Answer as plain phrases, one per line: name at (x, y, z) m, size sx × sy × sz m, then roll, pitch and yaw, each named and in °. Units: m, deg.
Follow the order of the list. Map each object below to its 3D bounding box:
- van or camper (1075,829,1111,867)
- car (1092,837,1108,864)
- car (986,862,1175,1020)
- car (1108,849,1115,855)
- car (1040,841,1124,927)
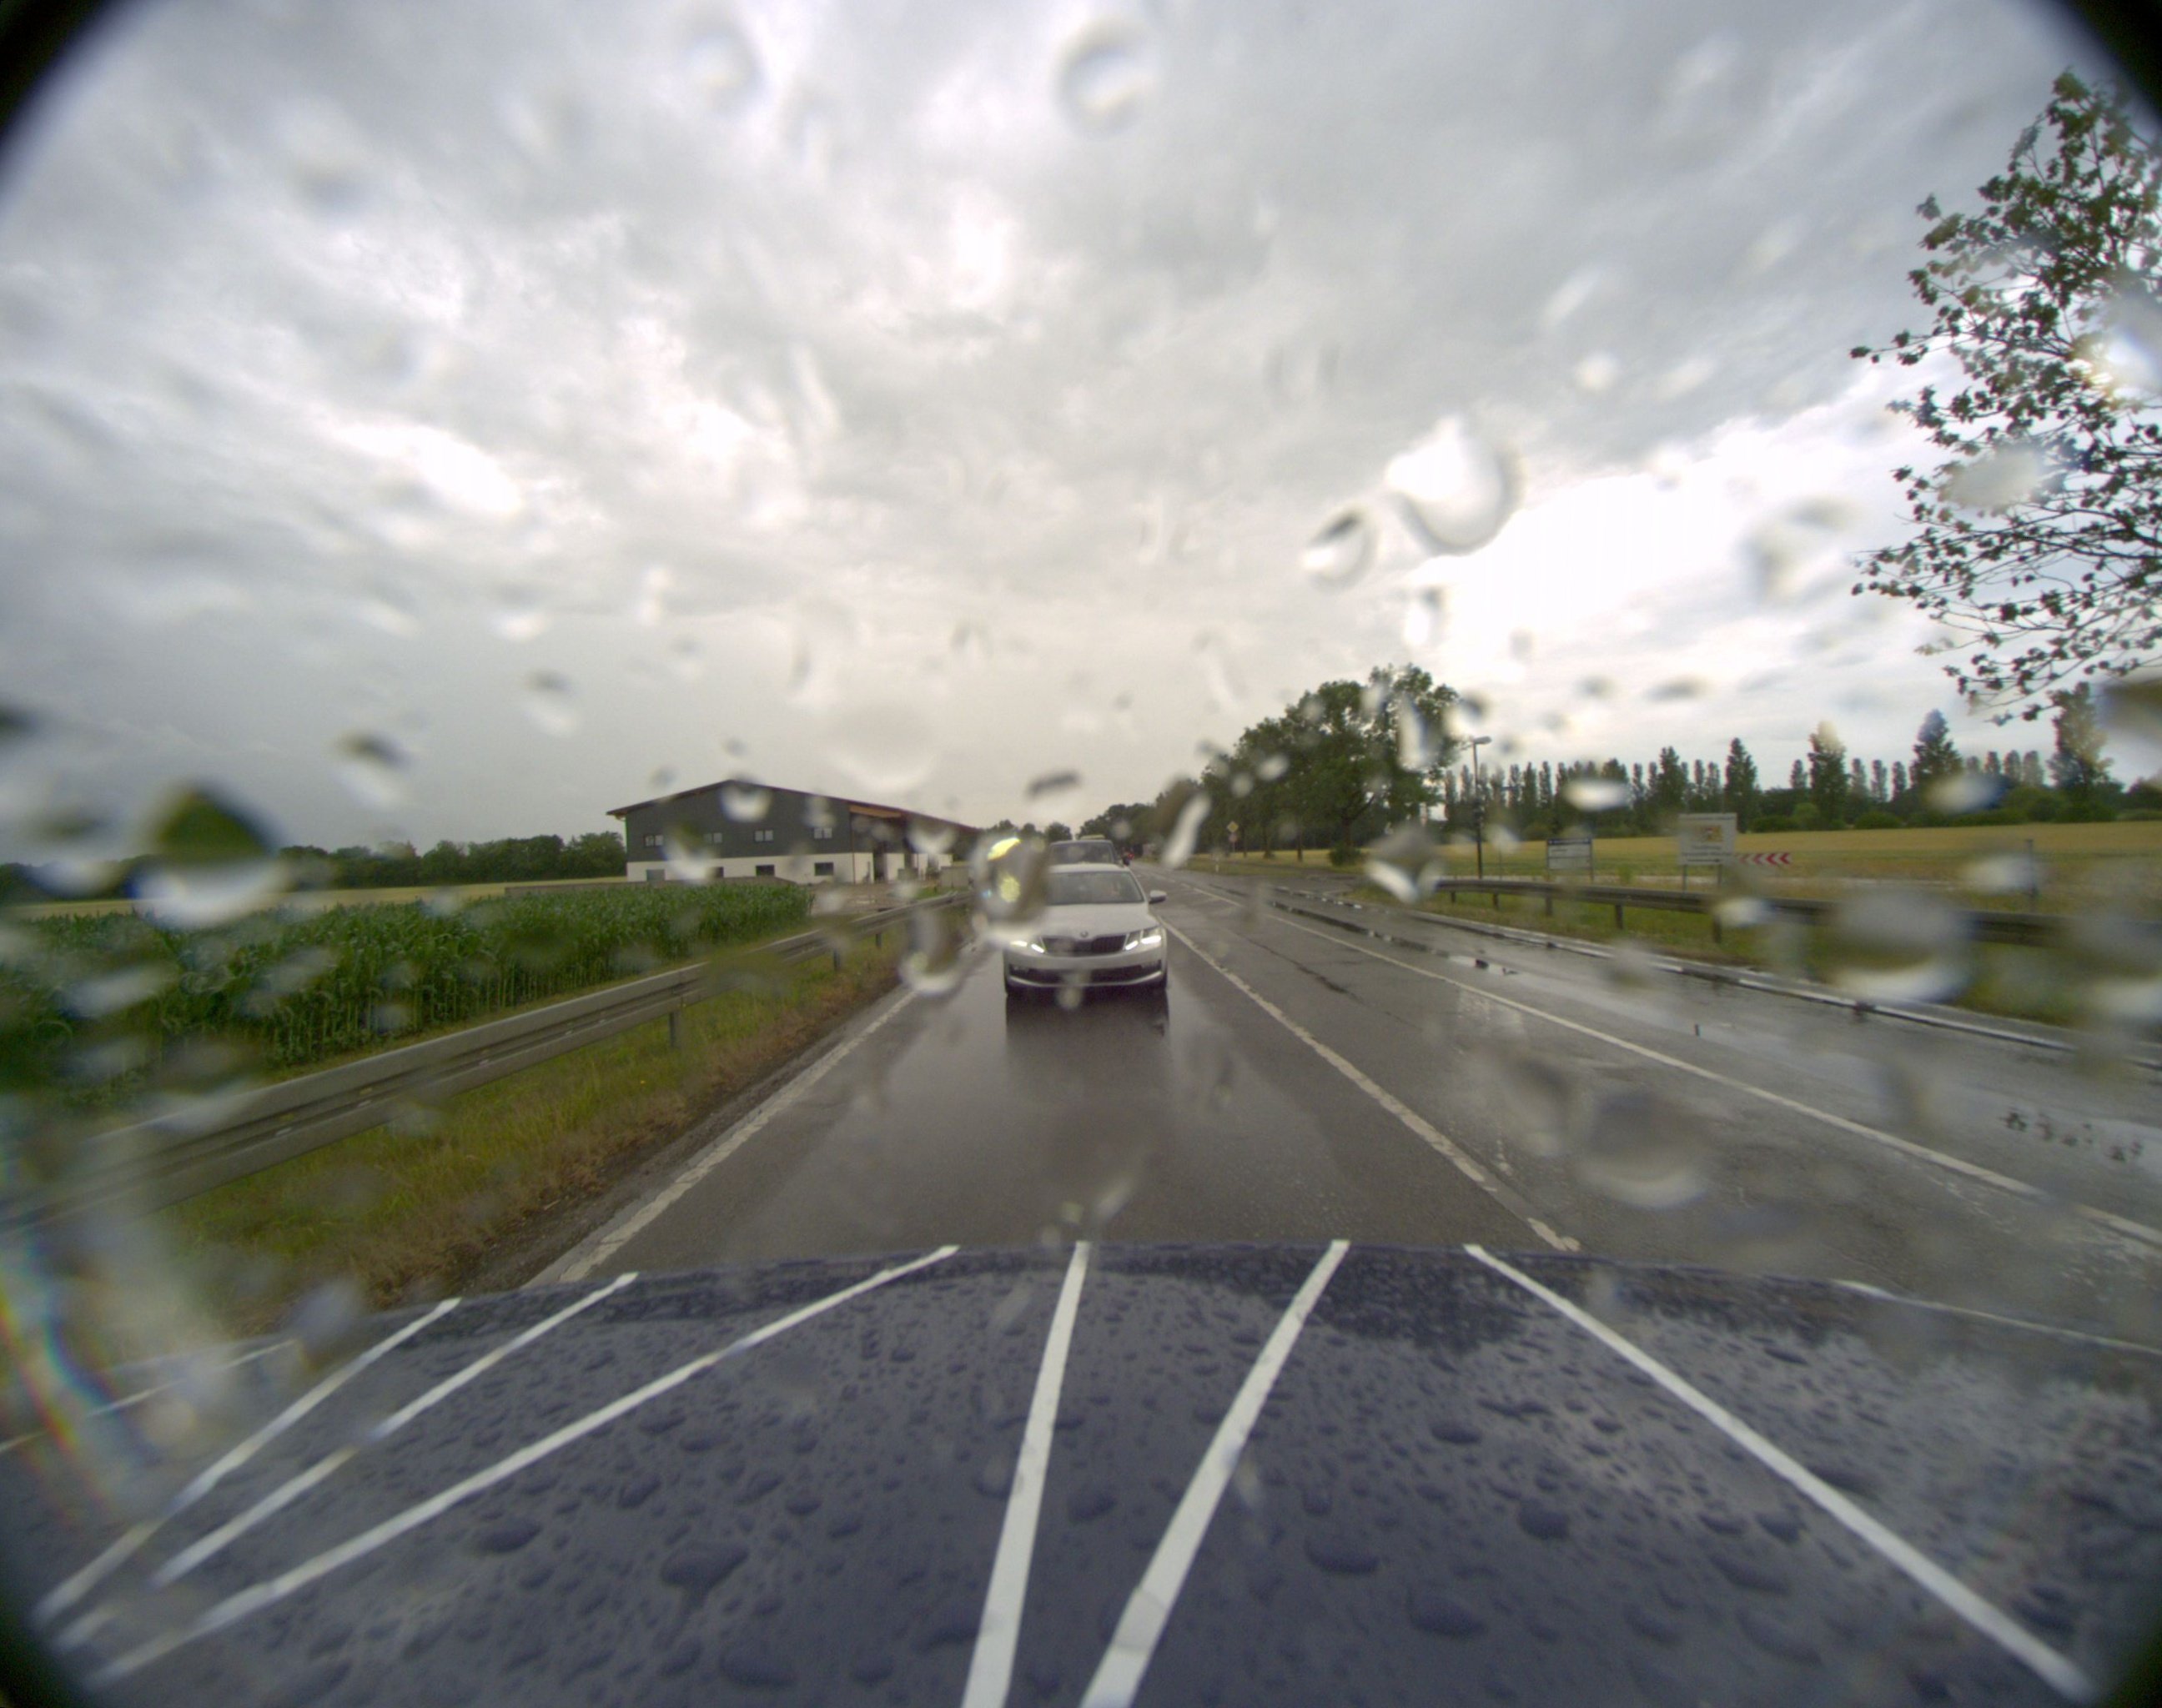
van or camper at (1.321, -0.598, 79.392) m, size 3.342 × 3.624 × 8.373 m, roll -3°, pitch 1°, yaw 2°
car at (2.257, -0.399, 91.107) m, size 1.771 × 3.134 × 4.028 m, roll -3°, pitch 0°, yaw 1°
car at (0.055, 0.871, 9.632) m, size 1.770 × 1.365 × 4.575 m, roll -3°, pitch 0°, yaw 2°
car at (8.165, -0.469, 202.600) m, size 1.773 × 1.514 × 4.141 m, roll -1°, pitch 0°, yaw 1°
car at (0.097, 0.665, 19.671) m, size 1.841 × 1.888 × 4.575 m, roll -3°, pitch 1°, yaw 2°
